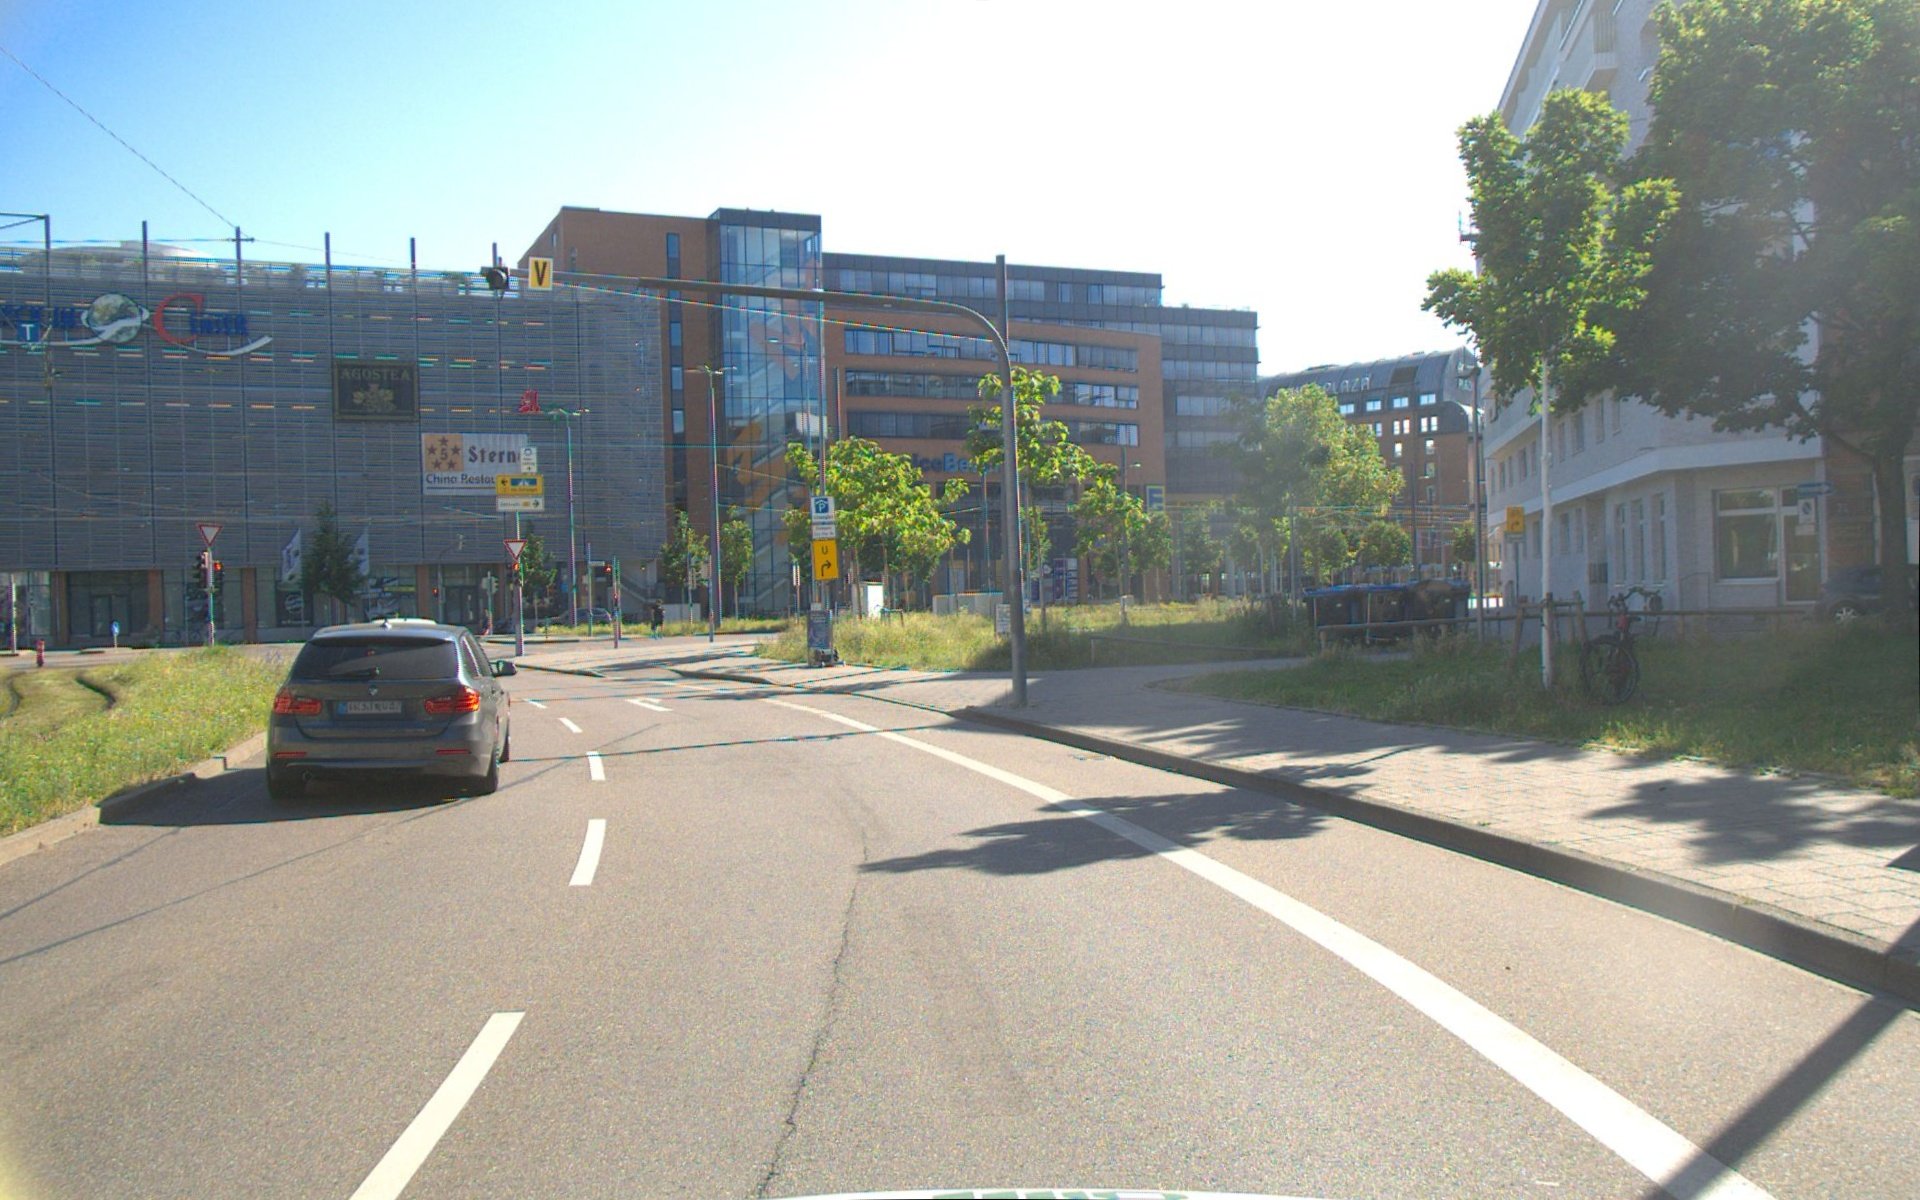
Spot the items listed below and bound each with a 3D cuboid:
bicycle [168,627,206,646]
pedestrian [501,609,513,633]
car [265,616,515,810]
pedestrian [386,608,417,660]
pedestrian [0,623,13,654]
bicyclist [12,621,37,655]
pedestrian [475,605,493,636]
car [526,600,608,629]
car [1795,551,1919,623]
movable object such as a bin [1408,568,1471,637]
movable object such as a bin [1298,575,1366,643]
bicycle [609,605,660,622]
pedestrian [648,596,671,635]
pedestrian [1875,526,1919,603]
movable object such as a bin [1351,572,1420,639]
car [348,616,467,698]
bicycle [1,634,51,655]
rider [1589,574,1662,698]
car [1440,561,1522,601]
[{"bbox_3d":[-47.073,2.220,100.710,2.002,1.078,1.135,-2,0,-27],"label":"bicycle"},{"bbox_3d":[-29.276,1.343,106.901,0.582,1.561,0.652,-2,0,-27],"label":"pedestrian"},{"bbox_3d":[-4.906,0.900,14.762,1.705,1.448,4.450,1,-1,-14],"label":"car"},{"bbox_3d":[-18.955,1.152,56.139,0.875,1.737,0.706,-2,0,-27],"label":"pedestrian"},{"bbox_3d":[-56.259,2.253,97.372,0.838,1.794,0.614,-2,0,-28],"label":"pedestrian"},{"bbox_3d":[-51.716,2.085,91.463,0.797,1.834,0.845,-2,0,22],"label":"bicyclist"},{"bbox_3d":[-28.423,1.226,98.756,0.845,1.768,0.745,-2,0,-33],"label":"pedestrian"},{"bbox_3d":[-22.840,0.865,96.140,4.433,1.521,1.482,-2,0,-27],"label":"car"},{"bbox_3d":[20.514,-0.301,35.809,4.029,1.462,1.991,-2,-1,39],"label":"car"},{"bbox_3d":[10.381,0.050,35.782,1.010,1.423,1.088,-2,0,32],"label":"movable object such as a bin"},{"bbox_3d":[8.192,0.196,36.392,1.049,1.423,1.301,-2,0,31],"label":"movable object such as a bin"},{"bbox_3d":[-22.352,0.942,113.732,3.312,1.096,1.110,-1,0,-21],"label":"bicycle"},{"bbox_3d":[-13.472,0.693,74.029,0.797,1.738,0.755,-1,0,-27],"label":"pedestrian"},{"bbox_3d":[19.950,-0.749,35.138,0.765,1.604,0.633,-1,-1,-41],"label":"pedestrian"},{"bbox_3d":[9.318,0.113,36.216,1.087,1.423,1.318,-2,0,31],"label":"movable object such as a bin"},{"bbox_3d":[-10.456,1.045,31.178,1.612,1.448,3.749,1,-1,-26],"label":"car"},{"bbox_3d":[-51.668,2.463,91.537,1.022,1.089,2.244,-2,0,23],"label":"bicycle"},{"bbox_3d":[7.000,0.353,17.351,0.492,1.196,1.674,-2,1,28],"label":"rider"},{"bbox_3d":[28.184,-1.020,89.495,3.910,2.049,1.998,-2,0,27],"label":"car"}]
